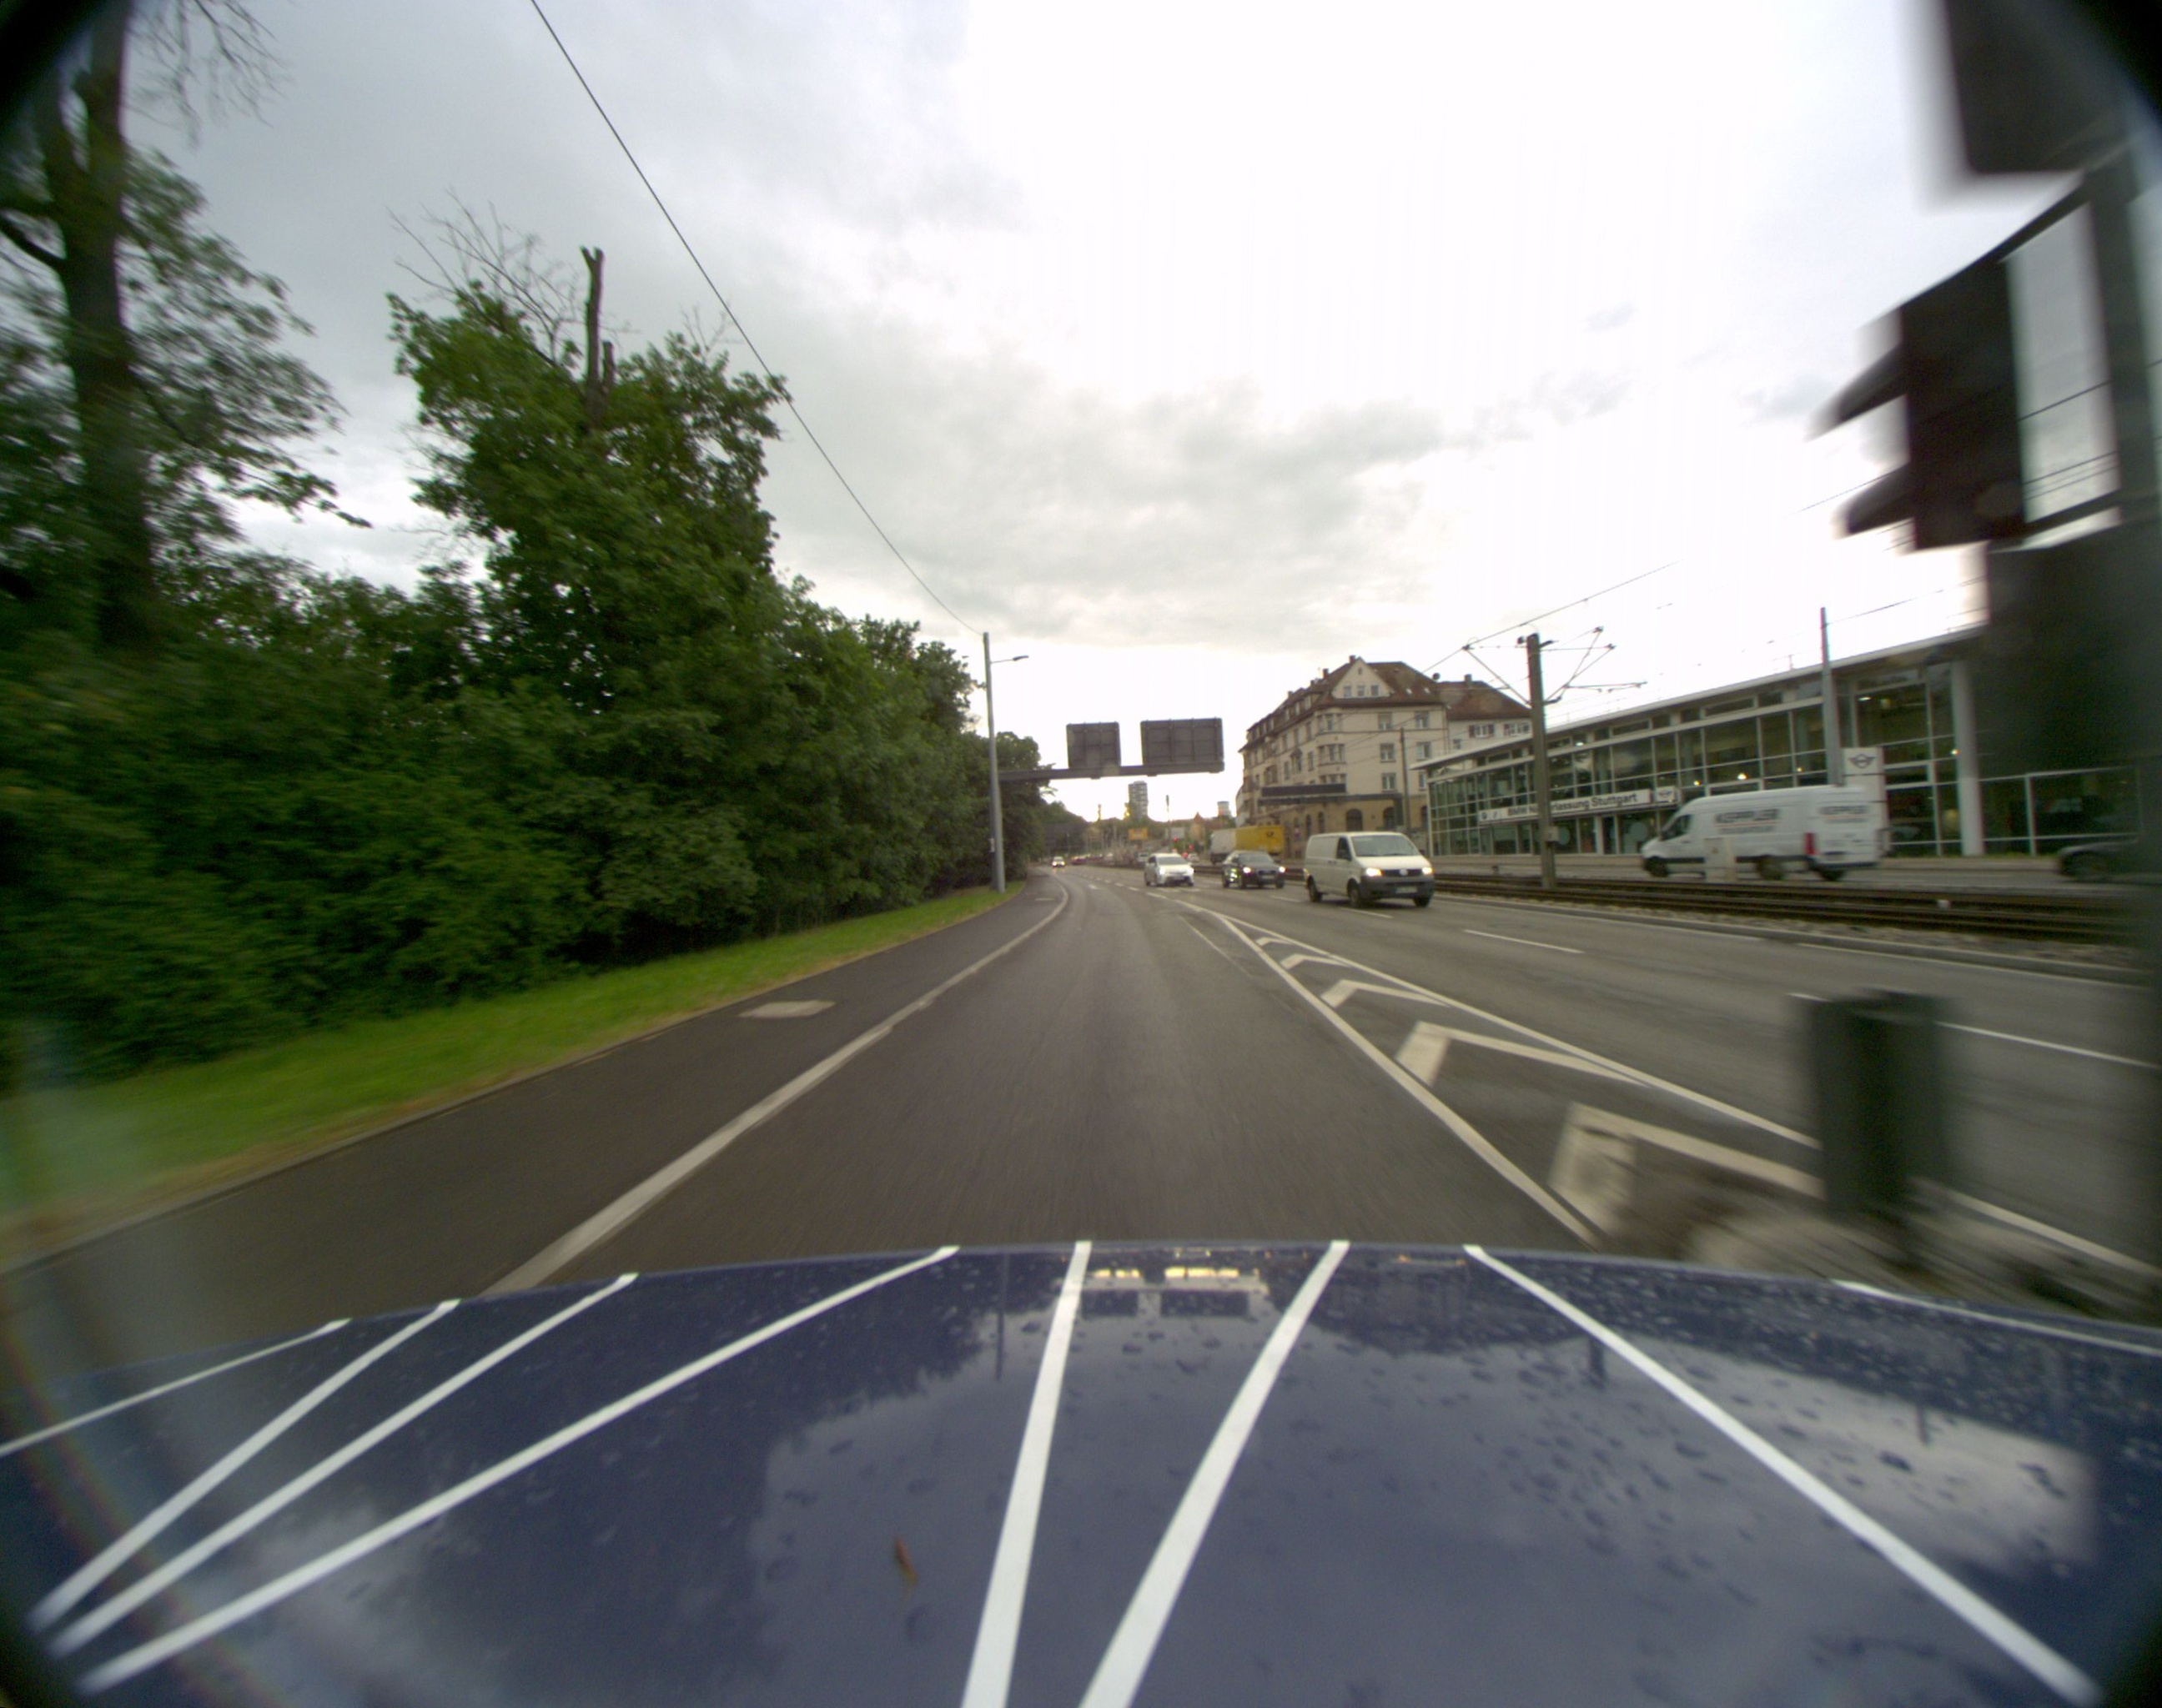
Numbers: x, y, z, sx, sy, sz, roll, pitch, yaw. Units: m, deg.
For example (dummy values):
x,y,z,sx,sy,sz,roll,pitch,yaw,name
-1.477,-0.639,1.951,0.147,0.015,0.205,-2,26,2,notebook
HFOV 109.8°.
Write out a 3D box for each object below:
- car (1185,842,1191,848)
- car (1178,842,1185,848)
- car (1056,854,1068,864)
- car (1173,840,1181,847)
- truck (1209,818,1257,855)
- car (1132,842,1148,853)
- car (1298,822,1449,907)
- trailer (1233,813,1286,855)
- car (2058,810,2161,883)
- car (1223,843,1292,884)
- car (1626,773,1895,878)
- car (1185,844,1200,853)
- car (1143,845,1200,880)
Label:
x,y,z,sx,sy,sz,roll,pitch,yaw,name
33.958,-2.977,240.507,1.835,1.787,4.219,-1,0,10,car
29.514,-2.584,224.028,1.835,1.787,4.219,-1,0,10,car
-3.021,0.823,123.008,1.710,1.585,3.998,-3,0,-4,car
32.319,-3.487,255.339,2.336,2.453,7.030,-2,0,9,car
17.670,-1.947,88.963,2.691,4.028,10.138,-2,0,-5,truck
10.724,-1.231,139.092,1.999,1.863,5.191,-3,0,-5,car
7.605,0.254,20.331,1.915,1.947,4.716,-2,0,-3,car
18.490,-1.983,79.373,2.691,4.028,9.079,-2,0,-5,trailer
23.403,-0.185,15.298,1.746,1.506,4.338,-2,0,-4,car
7.310,0.371,31.870,1.709,1.564,3.895,-2,0,-4,car
19.640,-0.729,22.553,2.057,2.583,6.162,-3,0,-5,car
18.512,-0.915,126.336,1.685,1.396,3.850,-2,0,-4,car
4.354,0.404,37.289,1.982,1.564,4.317,-2,0,-4,car
